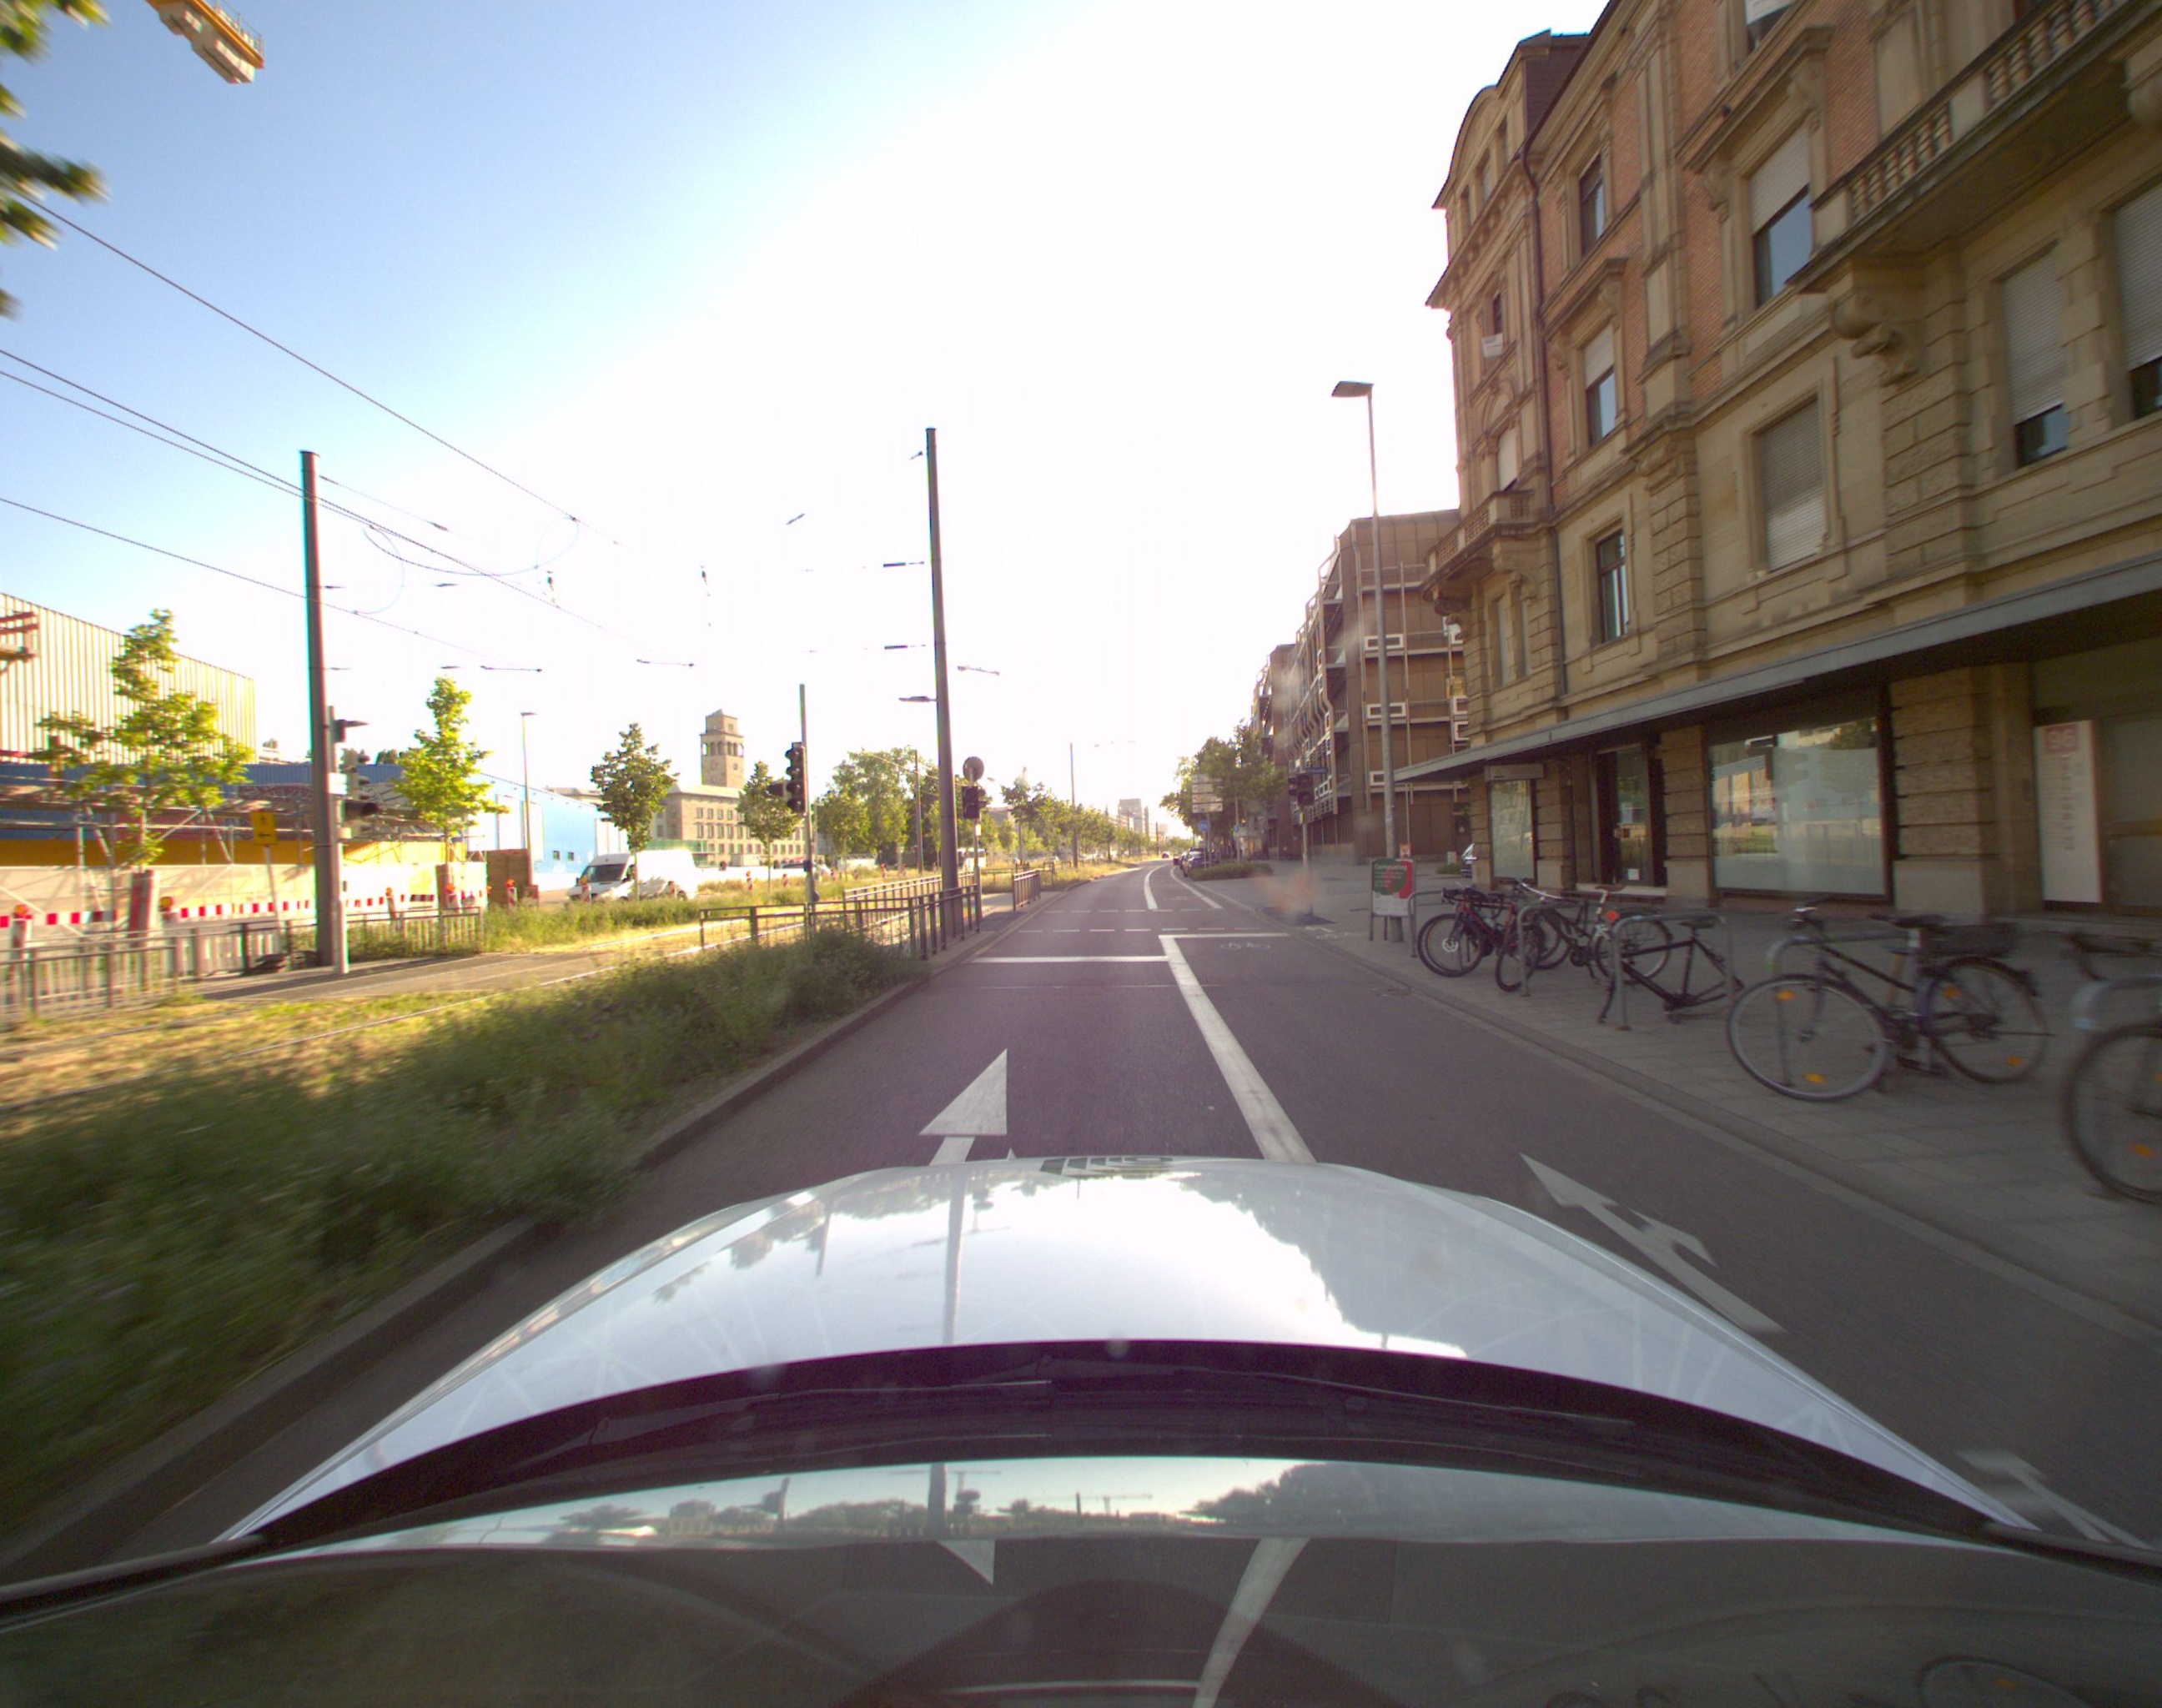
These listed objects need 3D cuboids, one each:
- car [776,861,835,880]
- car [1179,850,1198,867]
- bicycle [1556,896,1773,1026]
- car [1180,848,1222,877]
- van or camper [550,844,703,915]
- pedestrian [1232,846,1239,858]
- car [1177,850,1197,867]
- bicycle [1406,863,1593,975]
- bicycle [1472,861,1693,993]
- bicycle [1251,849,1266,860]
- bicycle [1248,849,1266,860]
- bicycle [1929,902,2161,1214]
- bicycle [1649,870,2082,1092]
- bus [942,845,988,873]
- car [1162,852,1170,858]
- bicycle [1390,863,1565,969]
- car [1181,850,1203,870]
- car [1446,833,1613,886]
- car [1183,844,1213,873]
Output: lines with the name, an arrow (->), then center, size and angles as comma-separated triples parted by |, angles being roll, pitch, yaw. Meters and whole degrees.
car -> -28.163, 1.663, 83.390 | 5.200, 1.717, 2.129 | -2, 0, 6
car -> 11.174, 0.464, 84.845 | 1.719, 1.621, 4.224 | -4, 0, 7
bicycle -> 4.600, 0.835, 6.478 | 1.268, 0.877, 0.508 | -5, -1, 6
car -> 7.450, 0.523, 50.874 | 1.924, 1.598, 4.700 | -4, 0, 1
van or camper -> -18.946, 0.944, 34.533 | 2.214, 2.510, 7.201 | -4, 0, 1
pedestrian -> 20.844, -0.282, 109.742 | 0.785, 1.648, 1.139 | -3, -1, 8
car -> 10.300, 0.414, 79.054 | 1.785, 1.449, 4.386 | -4, 0, 7
bicycle -> 4.697, 0.723, 9.205 | 1.745, 1.104, 0.508 | -5, -1, 6
bicycle -> 4.835, 0.696, 7.921 | 1.713, 1.104, 0.508 | -5, -1, 6
bicycle -> 19.843, 0.074, 91.025 | 1.617, 1.082, 0.393 | -3, -1, 9
bicycle -> 19.113, 0.083, 88.417 | 1.892, 1.093, 0.392 | -3, -1, 2
bicycle -> 4.631, 0.731, 3.209 | 1.796, 1.047, 0.567 | -5, -1, 6
bicycle -> 4.555, 0.724, 4.832 | 1.835, 1.104, 0.567 | -5, -1, 6
bus -> -15.758, 0.618, 112.186 | 2.783, 3.595, 12.726 | -2, 0, 8
car -> 20.192, 0.158, 192.655 | 1.767, 1.428, 4.009 | -1, 0, 8
bicycle -> 4.732, 0.733, 9.796 | 1.745, 1.104, 0.508 | -5, -1, 6
car -> 9.297, 0.476, 68.275 | 1.654, 1.490, 4.213 | -4, 0, 8
car -> 13.990, 0.180, 25.572 | 4.254, 1.450, 1.860 | -2, -1, -5
car -> 8.350, 0.313, 58.386 | 1.726, 1.919, 4.399 | -4, 0, 5
